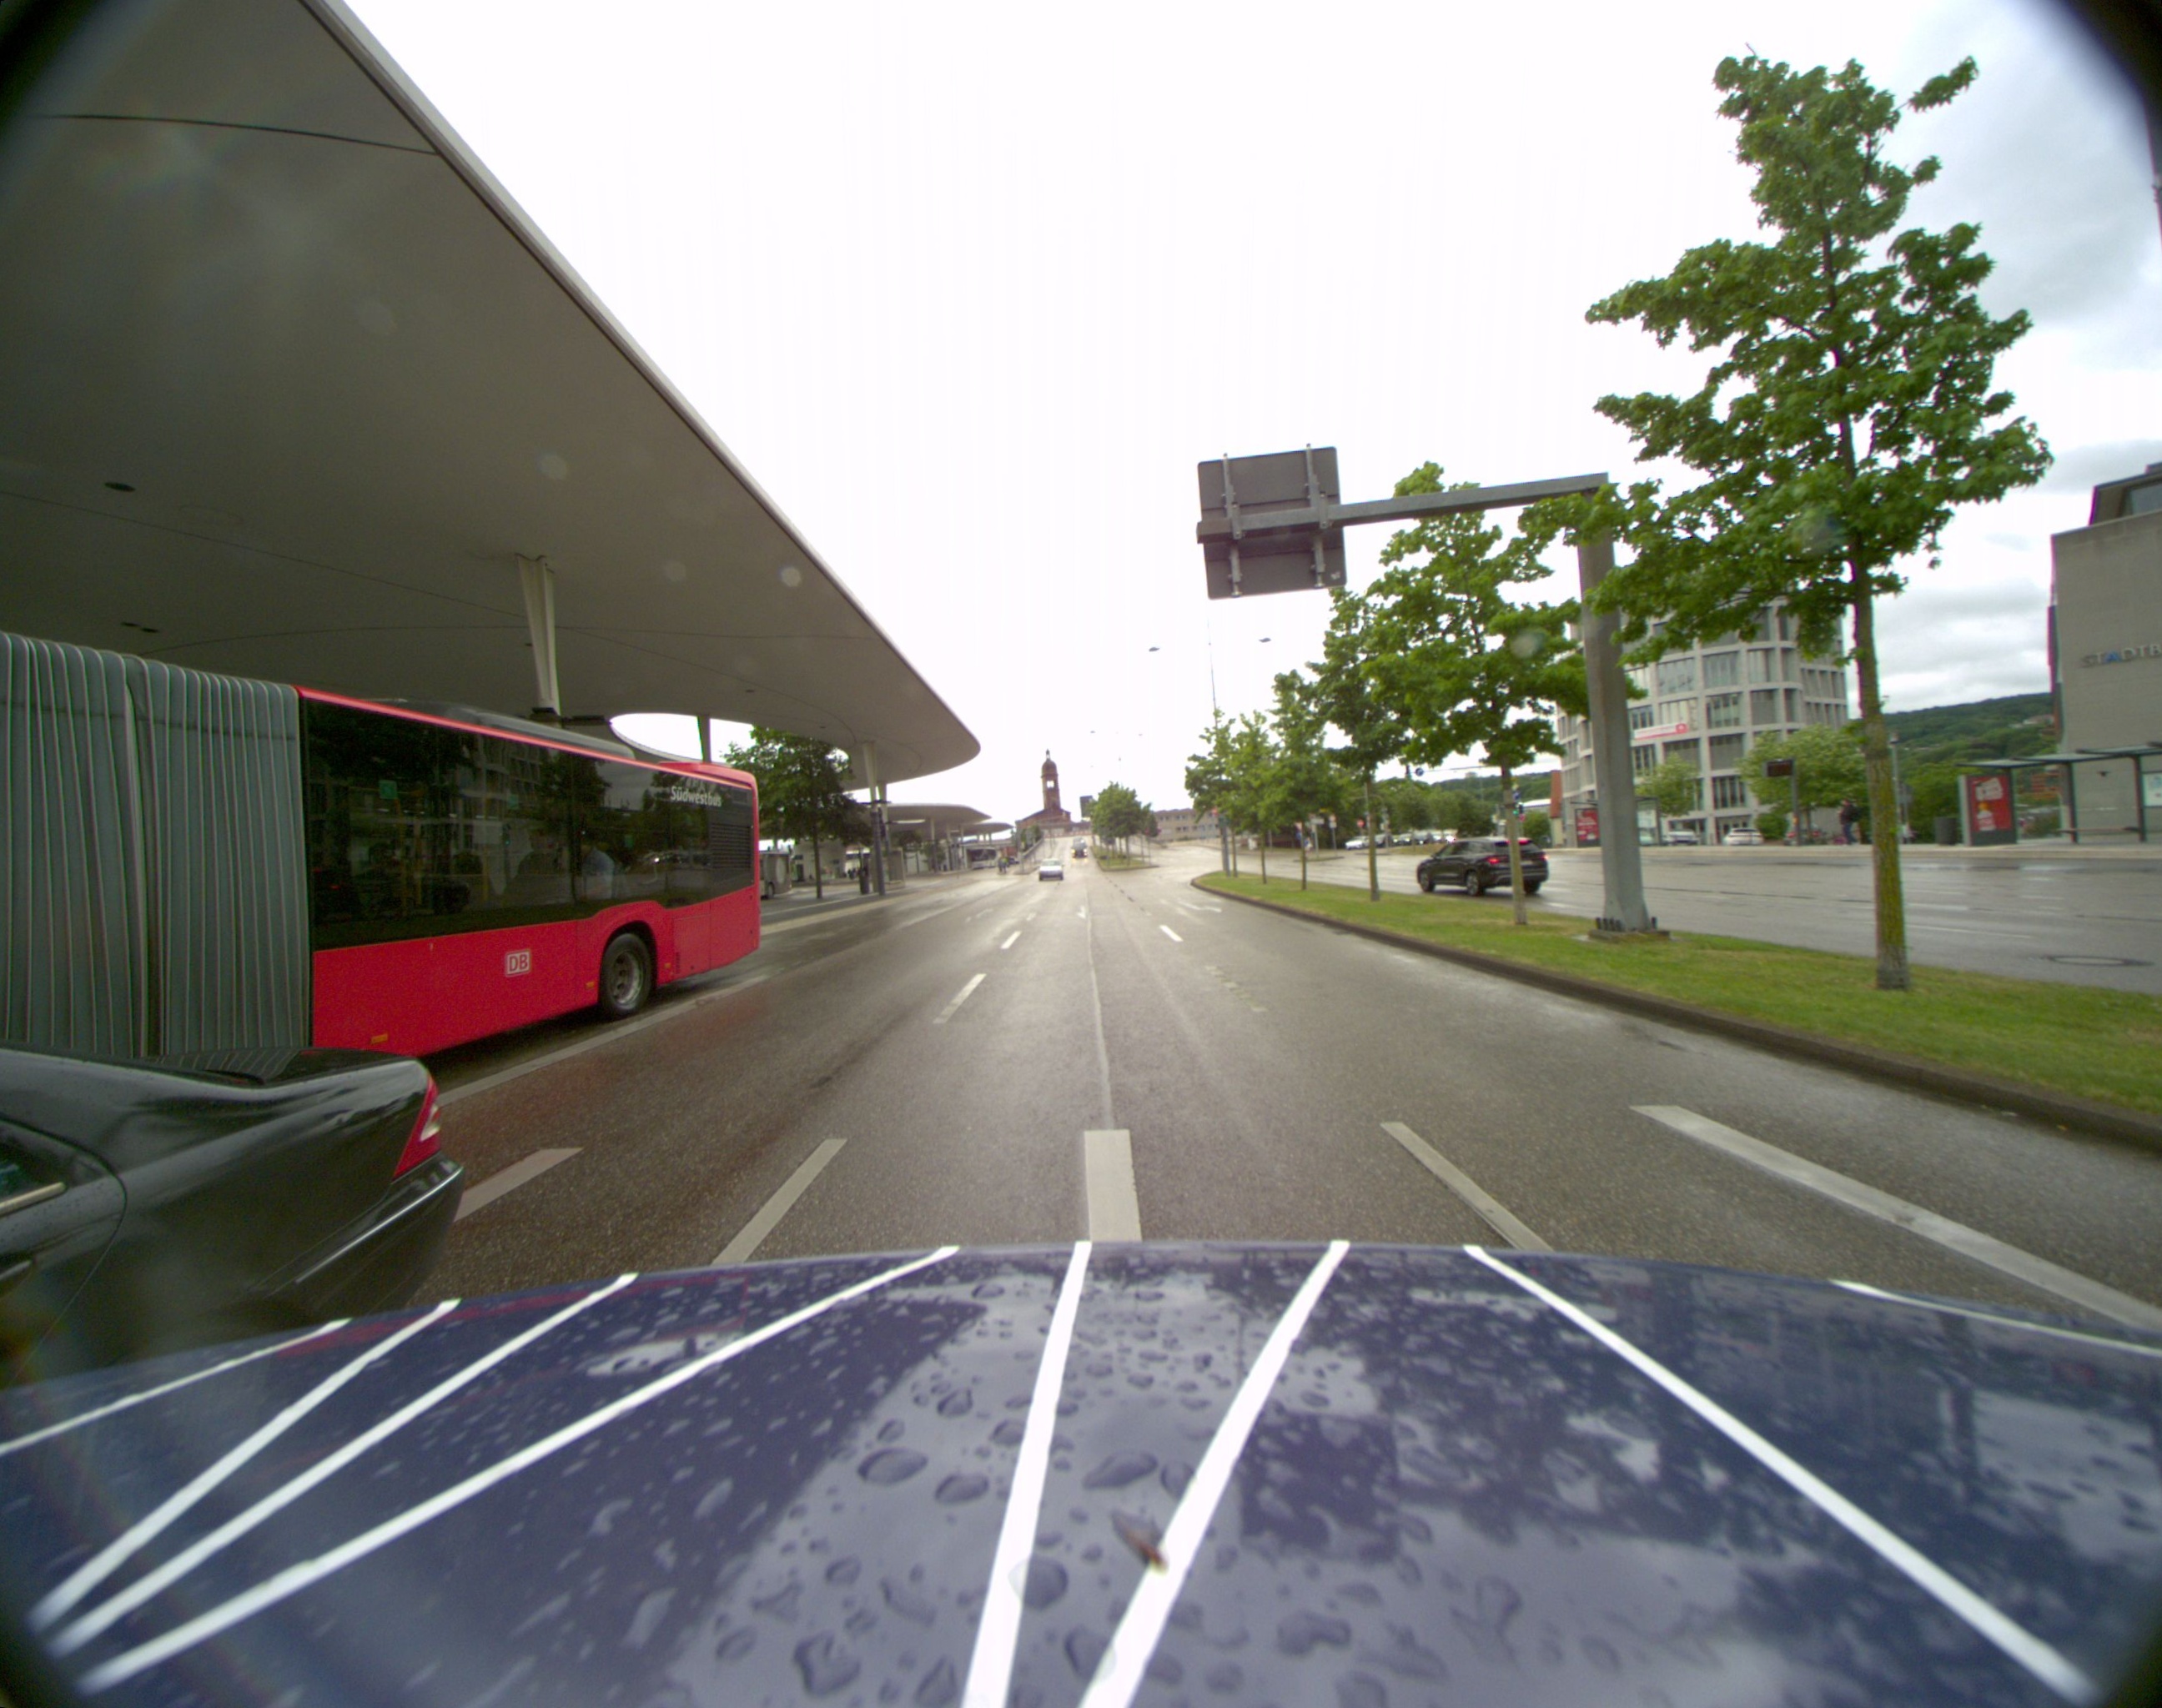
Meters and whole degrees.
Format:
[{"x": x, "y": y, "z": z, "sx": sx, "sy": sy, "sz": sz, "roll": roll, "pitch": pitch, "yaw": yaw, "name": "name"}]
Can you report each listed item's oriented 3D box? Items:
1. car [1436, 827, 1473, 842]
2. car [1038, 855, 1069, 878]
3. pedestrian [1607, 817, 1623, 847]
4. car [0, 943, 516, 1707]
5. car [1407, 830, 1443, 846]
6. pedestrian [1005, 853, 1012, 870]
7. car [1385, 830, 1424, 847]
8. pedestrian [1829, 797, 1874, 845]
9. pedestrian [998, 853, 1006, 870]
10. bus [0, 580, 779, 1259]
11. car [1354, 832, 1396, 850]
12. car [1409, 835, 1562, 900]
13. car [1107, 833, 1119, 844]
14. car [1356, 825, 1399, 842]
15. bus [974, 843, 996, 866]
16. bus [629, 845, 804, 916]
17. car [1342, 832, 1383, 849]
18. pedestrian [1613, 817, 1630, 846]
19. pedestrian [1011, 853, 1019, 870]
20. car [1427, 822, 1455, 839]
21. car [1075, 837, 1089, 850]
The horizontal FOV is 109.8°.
[{"x": 50.511, "y": -2.615, "z": 102.847, "sx": 2.195, "sy": 1.702, "sz": 4.914, "roll": -3, "pitch": 0, "yaw": -5, "name": "car"}, {"x": -1.863, "y": 0.834, "z": 52.342, "sx": 1.627, "sy": 1.450, "sz": 3.737, "roll": -3, "pitch": 0, "yaw": 5, "name": "car"}, {"x": 29.526, "y": -1.217, "z": 42.014, "sx": 0.504, "sy": 1.625, "sz": 0.502, "roll": -2, "pitch": 1, "yaw": 1, "name": "pedestrian"}, {"x": -2.836, "y": 1.149, "z": 0.322, "sx": 1.750, "sy": 1.472, "sz": 4.434, "roll": -5, "pitch": 1, "yaw": 0, "name": "car"}, {"x": 42.028, "y": -1.966, "z": 92.822, "sx": 4.925, "sy": 1.702, "sz": 2.190, "roll": -3, "pitch": 1, "yaw": -43, "name": "car"}, {"x": -6.870, "y": 0.698, "z": 71.853, "sx": 0.557, "sy": 1.614, "sz": 0.552, "roll": -3, "pitch": 1, "yaw": 1, "name": "pedestrian"}, {"x": 37.255, "y": -1.824, "z": 87.438, "sx": 4.925, "sy": 1.702, "sz": 2.190, "roll": -3, "pitch": 1, "yaw": -43, "name": "car"}, {"x": 29.188, "y": -1.237, "z": 28.794, "sx": 0.787, "sy": 1.750, "sz": 0.972, "roll": -3, "pitch": 1, "yaw": -28, "name": "pedestrian"}, {"x": -7.481, "y": 0.681, "z": 71.969, "sx": 0.576, "sy": 1.614, "sz": 0.588, "roll": -3, "pitch": 1, "yaw": 1, "name": "pedestrian"}, {"x": -6.134, "y": 0.350, "z": 7.607, "sx": 2.750, "sy": 3.155, "sz": 8.120, "roll": -3, "pitch": 0, "yaw": 1, "name": "bus"}, {"x": 31.485, "y": -1.436, "z": 81.338, "sx": 4.925, "sy": 1.702, "sz": 2.190, "roll": -3, "pitch": 1, "yaw": -43, "name": "car"}, {"x": 11.712, "y": 0.345, "z": 22.421, "sx": 1.827, "sy": 1.630, "sz": 4.598, "roll": -3, "pitch": 0, "yaw": -3, "name": "car"}, {"x": 5.621, "y": -2.694, "z": 134.216, "sx": 1.998, "sy": 1.765, "sz": 4.000, "roll": -3, "pitch": 0, "yaw": 1, "name": "car"}, {"x": 41.302, "y": -2.832, "z": 105.960, "sx": 2.315, "sy": 2.002, "sz": 5.021, "roll": -3, "pitch": 1, "yaw": -41, "name": "car"}, {"x": -14.272, "y": 0.067, "z": 113.273, "sx": 2.675, "sy": 3.111, "sz": 9.712, "roll": -3, "pitch": 0, "yaw": -5, "name": "bus"}, {"x": -19.832, "y": 1.220, "z": 42.794, "sx": 3.003, "sy": 3.088, "sz": 12.356, "roll": -6, "pitch": 0, "yaw": 3, "name": "bus"}, {"x": 31.917, "y": -1.539, "z": 86.107, "sx": 4.925, "sy": 1.702, "sz": 2.190, "roll": -3, "pitch": 1, "yaw": -42, "name": "car"}, {"x": 30.075, "y": -1.244, "z": 42.247, "sx": 0.520, "sy": 1.625, "sz": 0.536, "roll": -2, "pitch": 1, "yaw": 1, "name": "pedestrian"}, {"x": -6.254, "y": 0.697, "z": 71.850, "sx": 0.557, "sy": 1.614, "sz": 0.552, "roll": -3, "pitch": 1, "yaw": 1, "name": "pedestrian"}, {"x": 46.625, "y": -3.034, "z": 98.430, "sx": 1.994, "sy": 2.002, "sz": 4.008, "roll": -2, "pitch": 0, "yaw": 44, "name": "car"}, {"x": 0.082, "y": -1.380, "z": 101.988, "sx": 1.704, "sy": 1.656, "sz": 3.998, "roll": -3, "pitch": 1, "yaw": -2, "name": "car"}]
